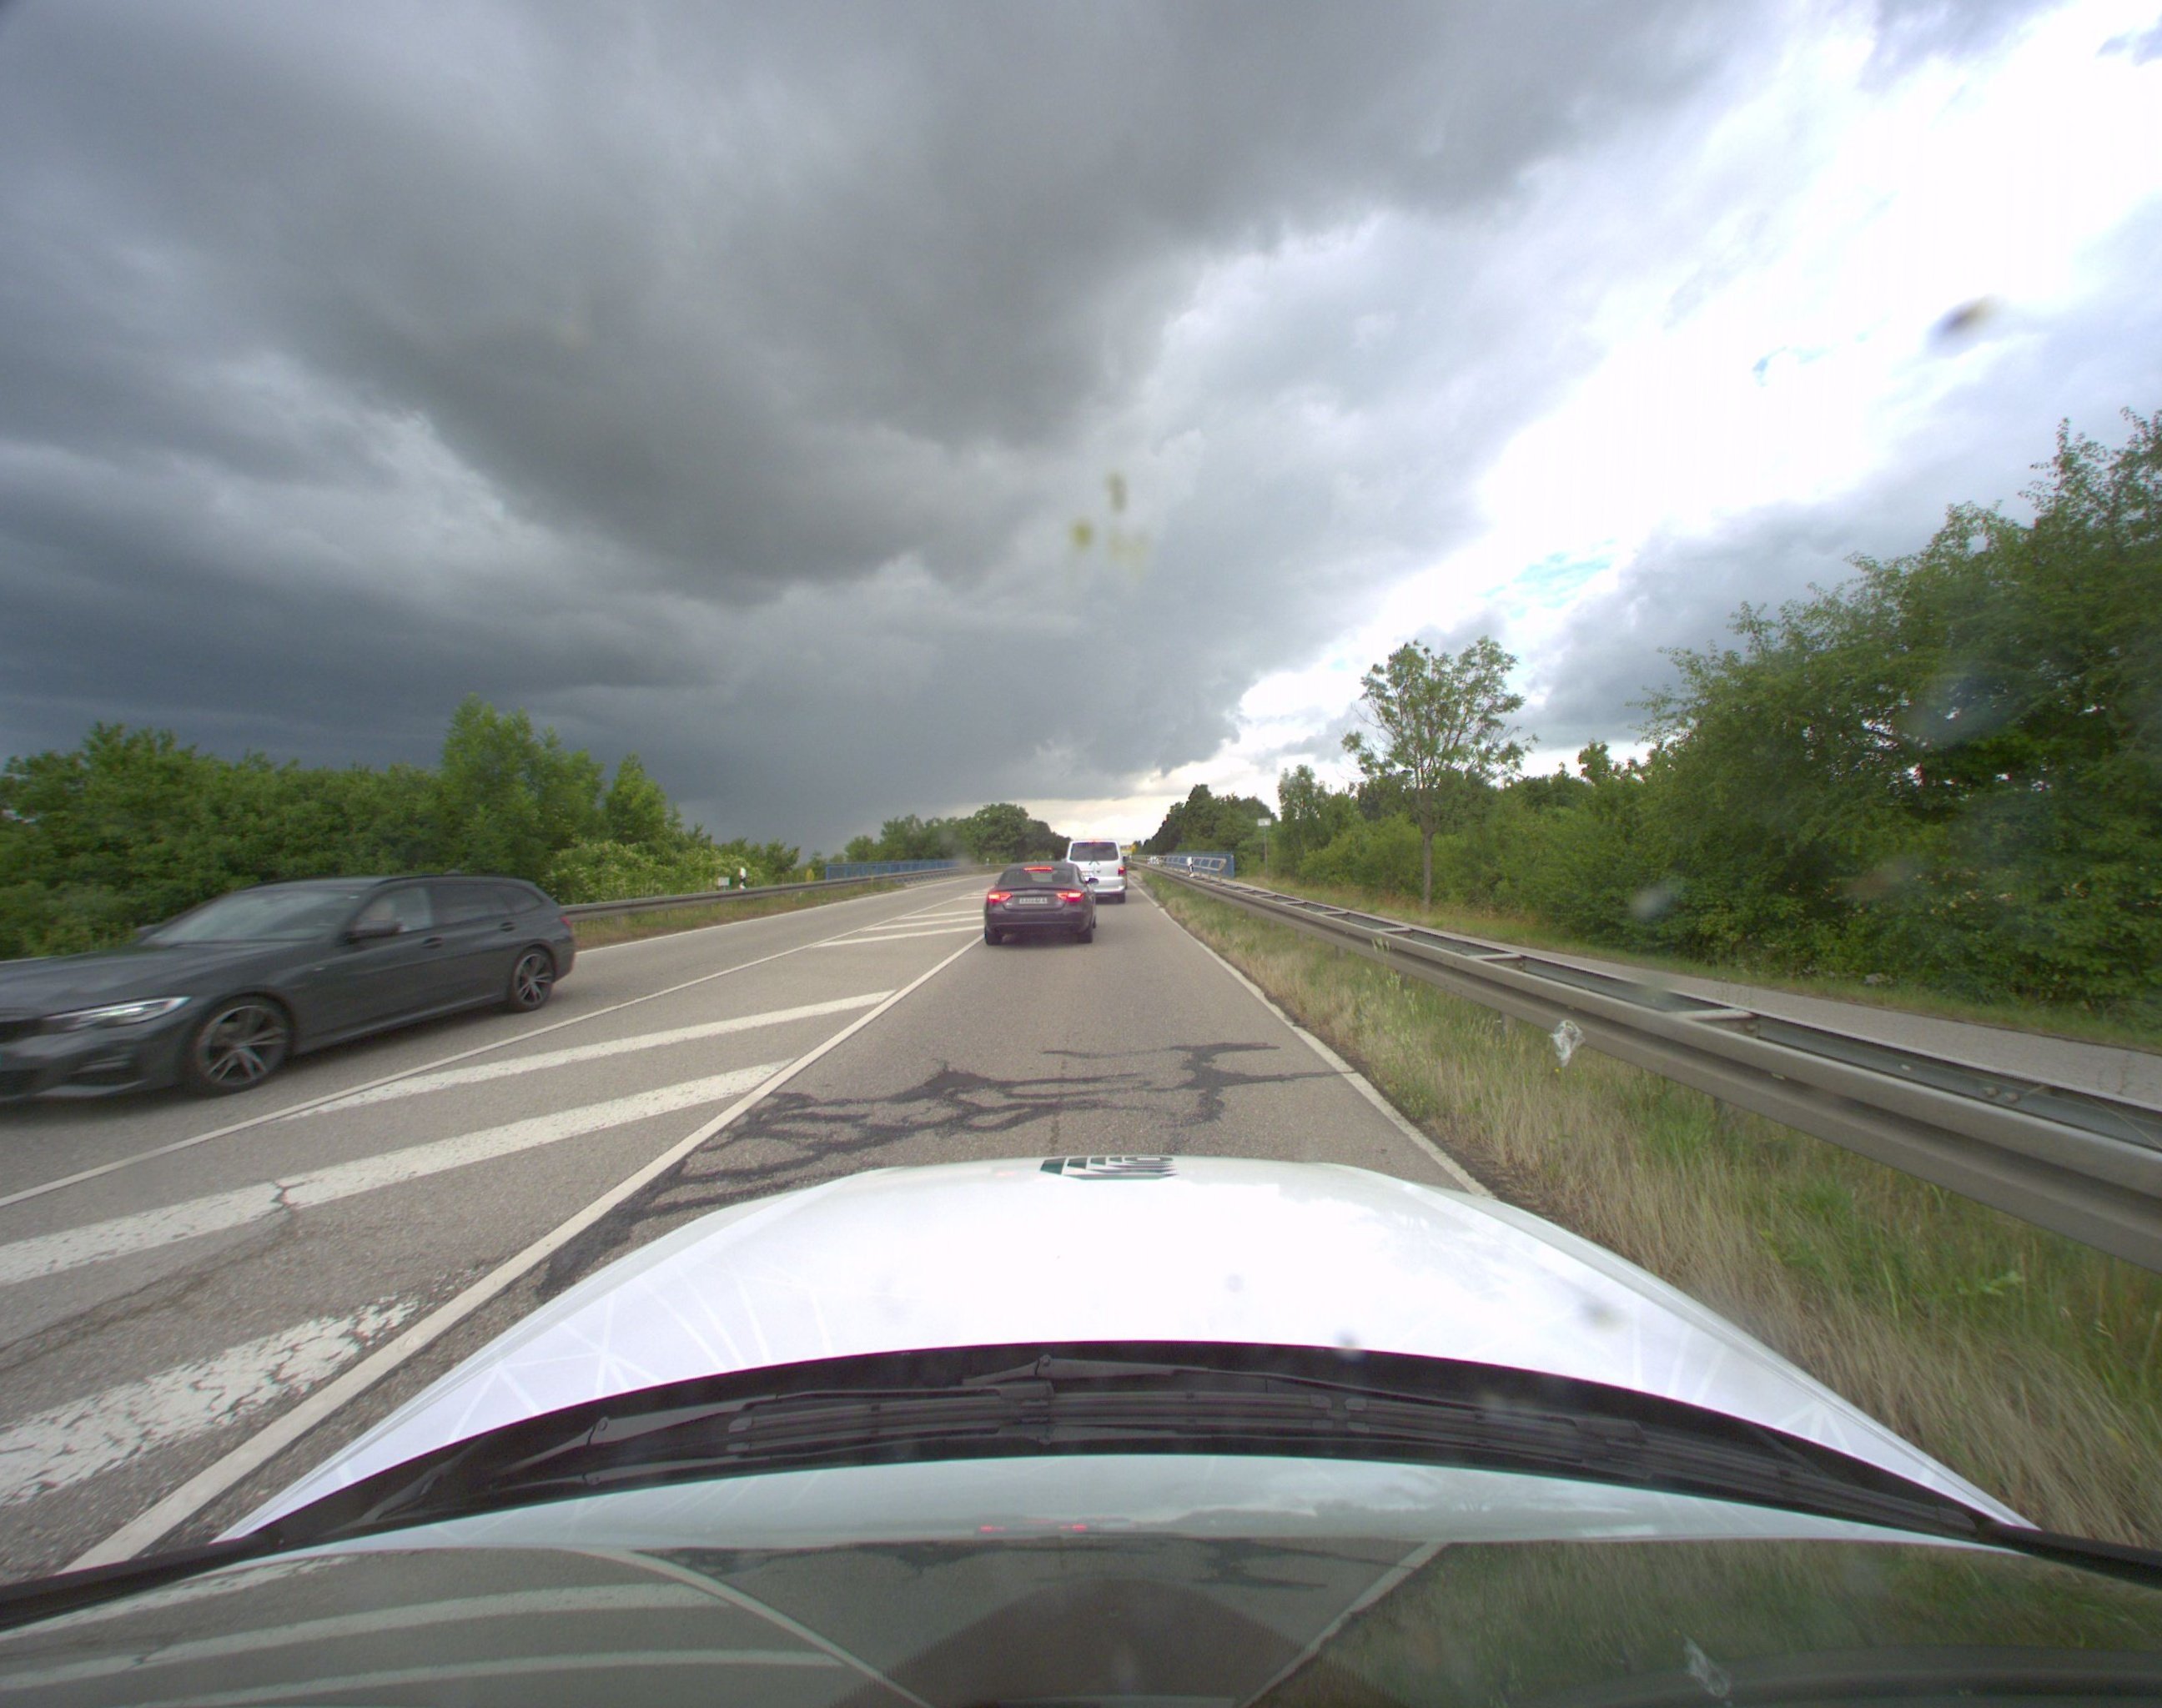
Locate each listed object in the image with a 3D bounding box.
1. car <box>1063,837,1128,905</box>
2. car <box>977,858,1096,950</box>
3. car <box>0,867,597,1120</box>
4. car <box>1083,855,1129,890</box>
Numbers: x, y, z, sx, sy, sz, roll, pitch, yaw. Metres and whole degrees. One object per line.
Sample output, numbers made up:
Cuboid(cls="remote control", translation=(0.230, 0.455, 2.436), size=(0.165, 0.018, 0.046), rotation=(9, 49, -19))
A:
Cuboid(cls="car", translation=(0.479, 0.508, 25.943), size=(1.822, 1.935, 4.001), rotation=(-2, 0, 1))
Cuboid(cls="car", translation=(-0.663, 0.801, 14.927), size=(1.815, 1.381, 4.073), rotation=(-2, 0, 1))
Cuboid(cls="car", translation=(-6.515, 0.899, 7.165), size=(1.793, 1.450, 4.445), rotation=(-2, 0, 0))
Cuboid(cls="car", translation=(1.095, 0.756, 34.985), size=(1.814, 1.381, 4.074), rotation=(-2, 0, 3))
